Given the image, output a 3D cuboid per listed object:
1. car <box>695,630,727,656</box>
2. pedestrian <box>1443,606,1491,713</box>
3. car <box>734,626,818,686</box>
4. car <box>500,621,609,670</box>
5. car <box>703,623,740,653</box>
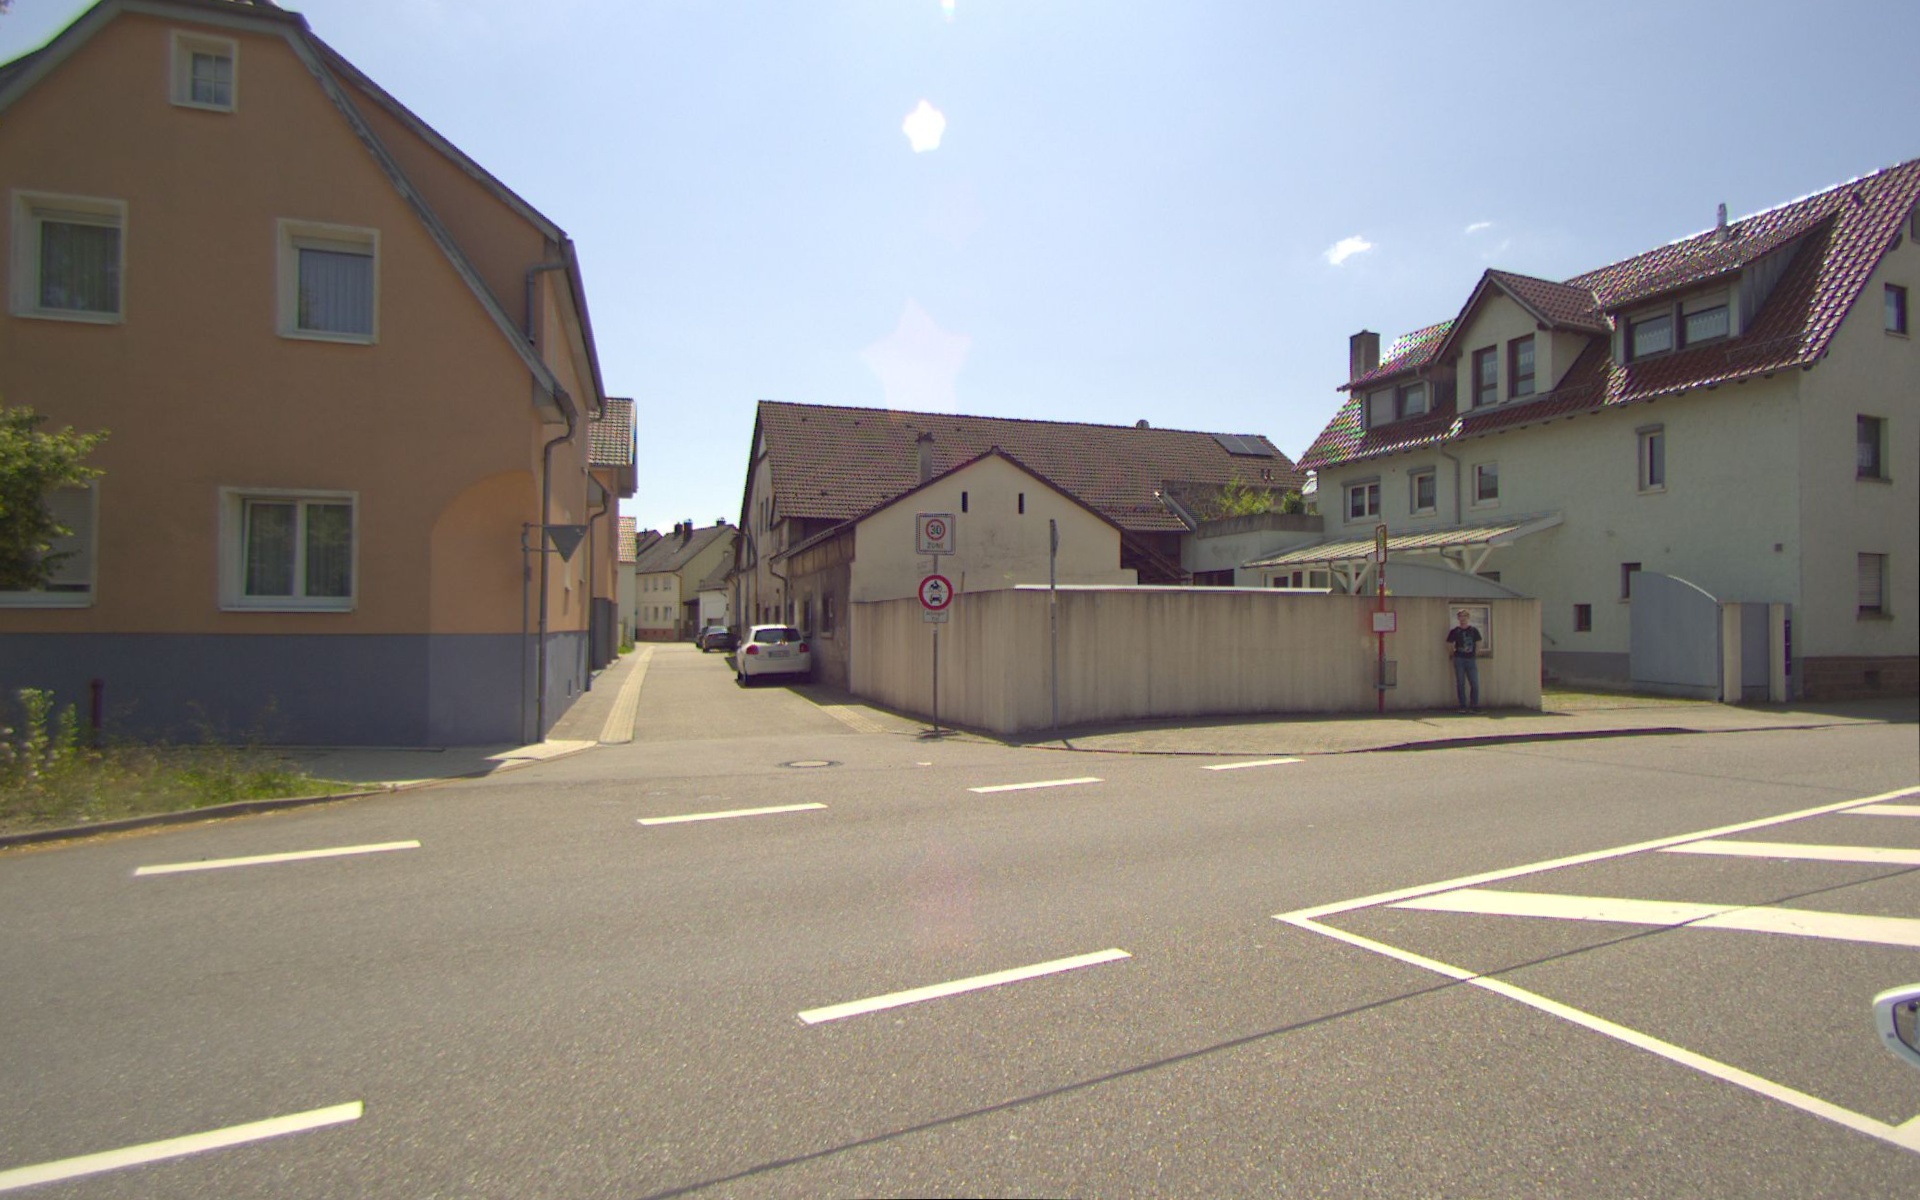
[{"bbox_3d":[-16.203,2.751,65.271,1.675,1.483,3.985,-2,0,-18],"label":"car"},{"bbox_3d":[8.585,0.999,17.017,0.547,1.788,0.434,0,-1,-10],"label":"pedestrian"},{"bbox_3d":[-5.102,1.463,27.440,1.780,1.483,3.985,0,-1,-18],"label":"car"},{"bbox_3d":[-16.282,1.848,40.515,3.938,1.862,1.992,1,-3,-20],"label":"car"},{"bbox_3d":[-13.102,2.054,55.032,1.675,1.483,3.985,-2,0,-18],"label":"car"}]
